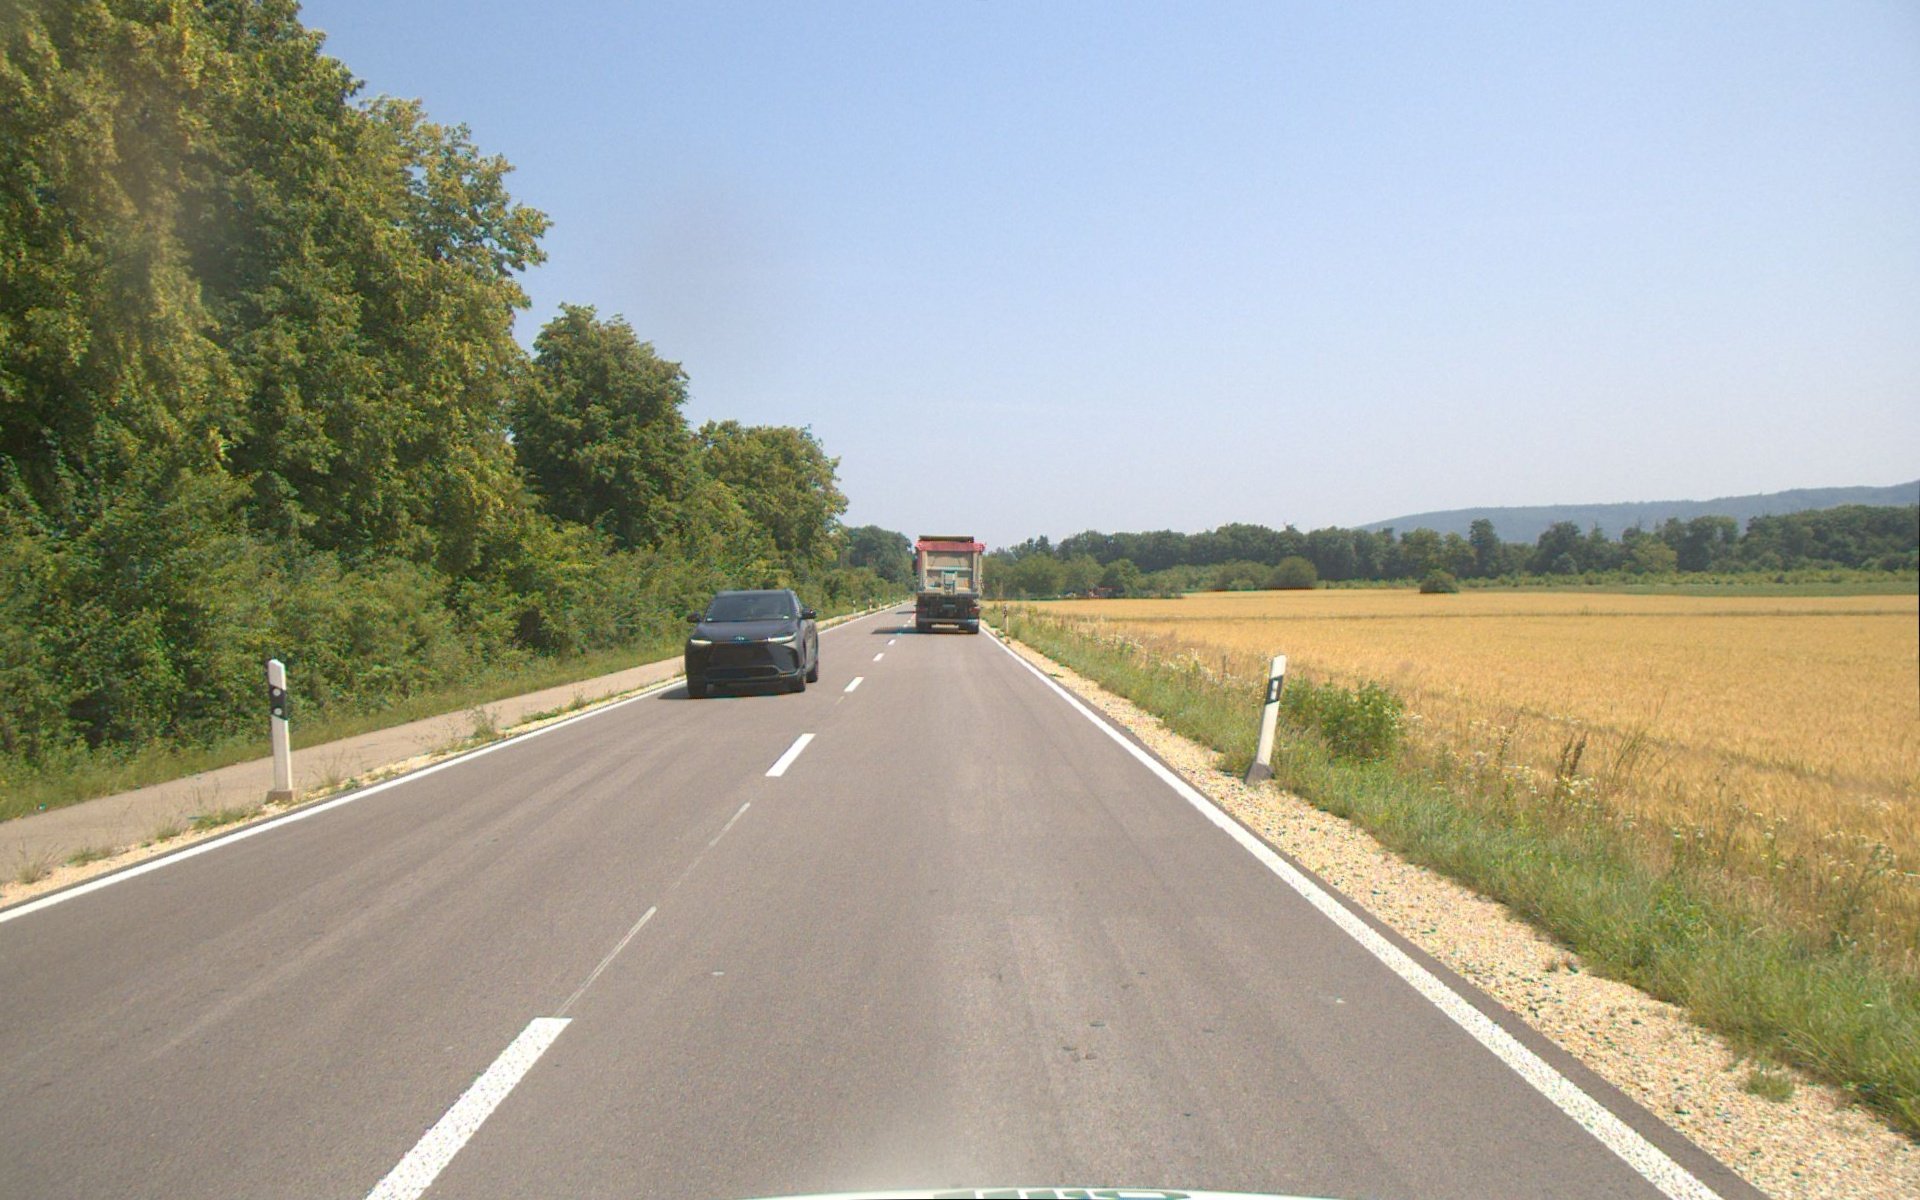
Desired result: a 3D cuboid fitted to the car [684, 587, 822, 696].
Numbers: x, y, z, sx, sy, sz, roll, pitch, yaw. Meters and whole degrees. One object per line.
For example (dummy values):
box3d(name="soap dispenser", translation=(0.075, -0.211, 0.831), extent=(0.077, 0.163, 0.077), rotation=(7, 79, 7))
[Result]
box3d(name="car", translation=(-3.316, 0.611, 27.268), extent=(1.756, 1.601, 4.478), rotation=(-2, 0, -1))

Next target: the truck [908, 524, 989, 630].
box3d(name="truck", translation=(-0.517, -0.844, 68.136), extent=(2.948, 3.942, 12.206), rotation=(1, 0, -1))
